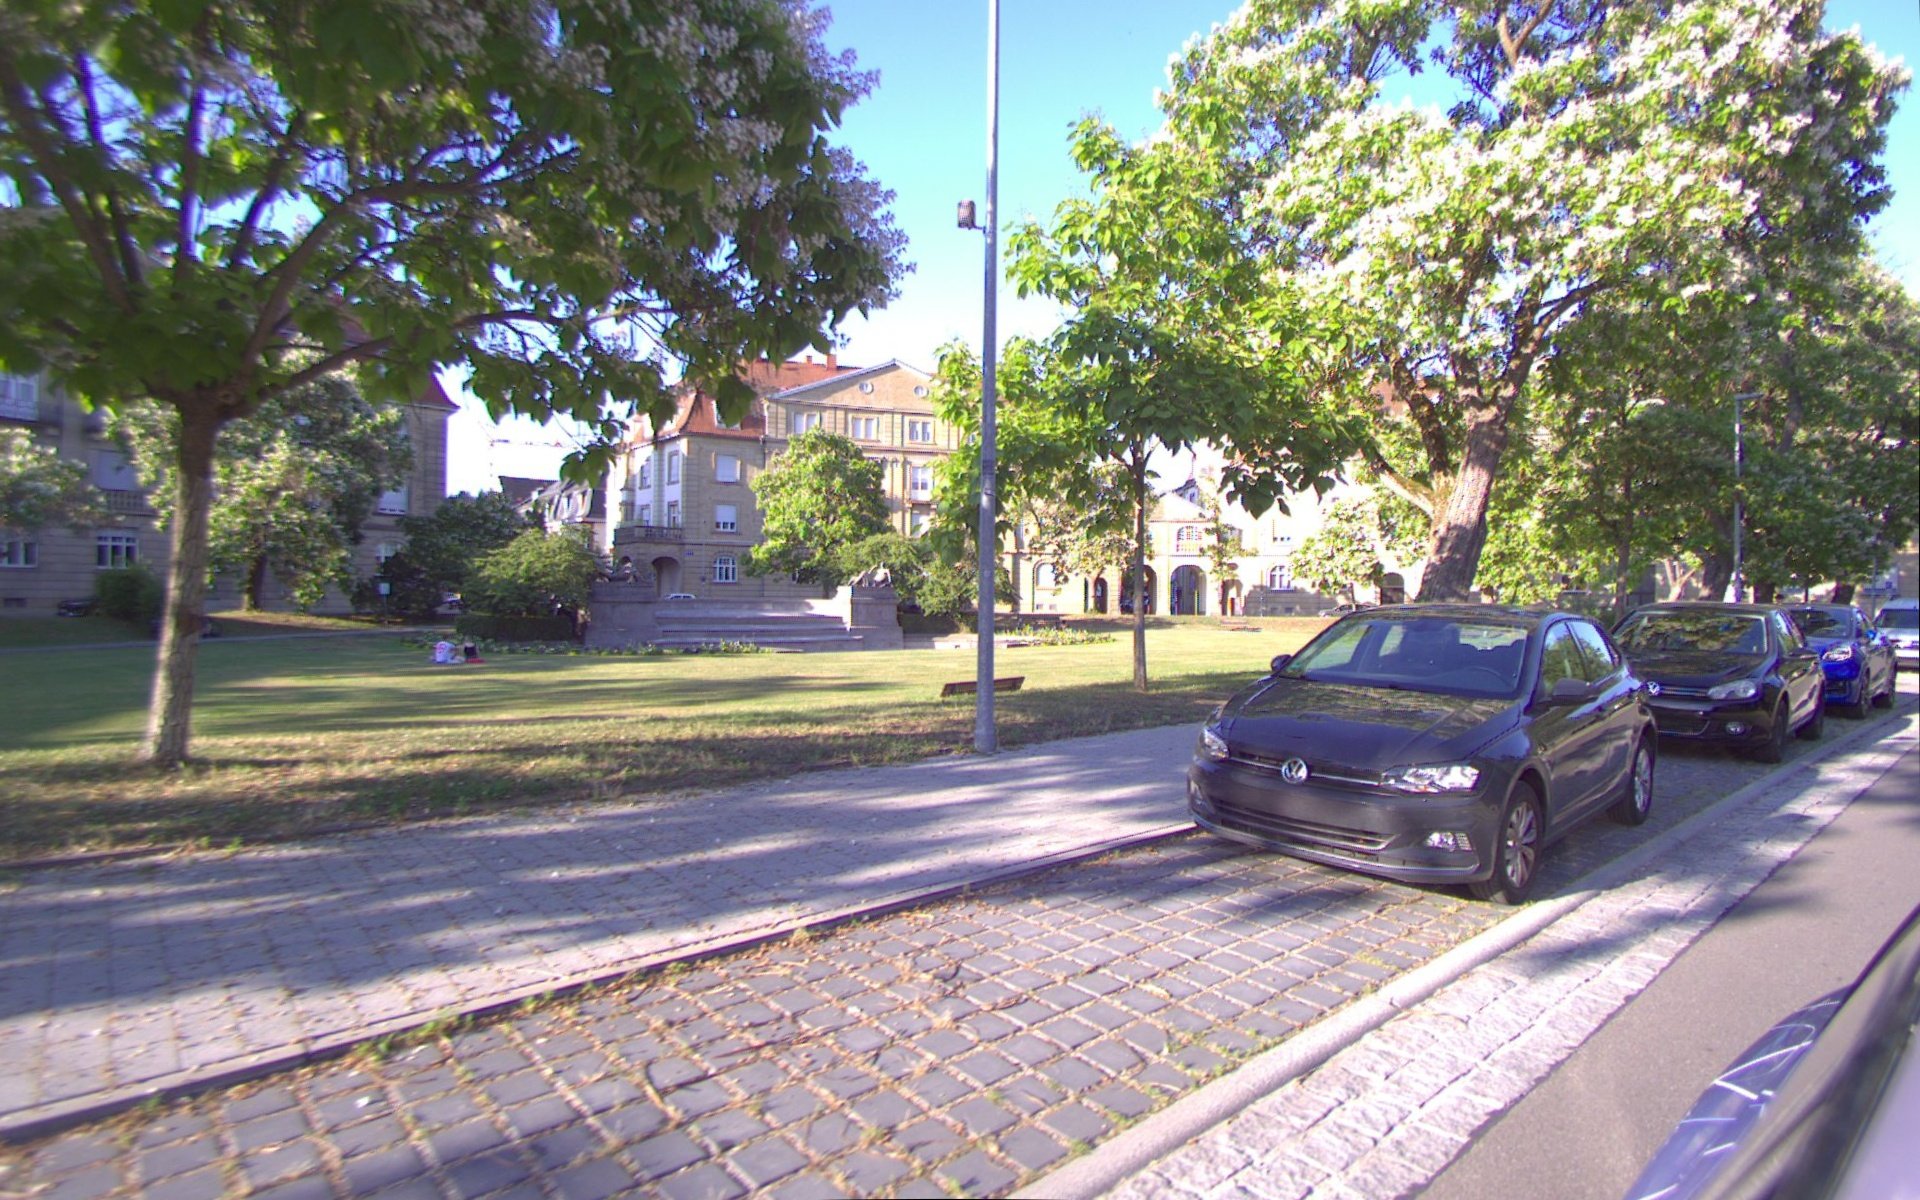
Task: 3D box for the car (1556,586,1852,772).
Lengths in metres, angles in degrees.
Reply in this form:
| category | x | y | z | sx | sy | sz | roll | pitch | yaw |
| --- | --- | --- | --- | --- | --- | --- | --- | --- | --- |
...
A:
| category | x | y | z | sx | sy | sz | roll | pitch | yaw |
| --- | --- | --- | --- | --- | --- | --- | --- | --- | --- |
| car | 7.975 | 0.646 | 10.683 | 4.348 | 1.570 | 1.734 | 0 | 1 | -43 |

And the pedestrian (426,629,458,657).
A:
| category | x | y | z | sx | sy | sz | roll | pitch | yaw |
| --- | --- | --- | --- | --- | --- | --- | --- | --- | --- |
| pedestrian | -15.498 | 1.279 | 30.298 | 0.655 | 0.804 | 0.586 | 0 | 0 | 6 |

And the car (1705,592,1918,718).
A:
| category | x | y | z | sx | sy | sz | roll | pitch | yaw |
| --- | --- | --- | --- | --- | --- | --- | --- | --- | --- |
| car | 12.531 | 0.677 | 14.807 | 4.200 | 1.570 | 1.735 | 0 | 1 | -41 |

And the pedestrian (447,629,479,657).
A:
| category | x | y | z | sx | sy | sz | roll | pitch | yaw |
| --- | --- | --- | --- | --- | --- | --- | --- | --- | --- |
| pedestrian | -14.831 | 1.285 | 30.202 | 0.655 | 0.804 | 0.586 | 0 | 0 | 6 |

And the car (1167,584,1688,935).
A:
| category | x | y | z | sx | sy | sz | roll | pitch | yaw |
| --- | --- | --- | --- | --- | --- | --- | --- | --- | --- |
| car | 3.166 | 0.654 | 6.354 | 4.180 | 1.482 | 1.627 | 0 | 1 | -45 |

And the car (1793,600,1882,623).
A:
| category | x | y | z | sx | sy | sz | roll | pitch | yaw |
| --- | --- | --- | --- | --- | --- | --- | --- | --- | --- |
| car | 58.788 | 0.740 | 67.867 | 4.440 | 1.436 | 1.905 | 1 | 1 | 44 |

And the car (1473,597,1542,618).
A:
| category | x | y | z | sx | sy | sz | roll | pitch | yaw |
| --- | --- | --- | --- | --- | --- | --- | --- | --- | --- |
| car | 40.051 | 0.545 | 74.128 | 4.393 | 1.435 | 1.553 | 1 | 1 | 26 |

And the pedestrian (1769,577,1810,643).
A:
| category | x | y | z | sx | sy | sz | roll | pitch | yaw |
| --- | --- | --- | --- | --- | --- | --- | --- | --- | --- |
| pedestrian | 22.257 | 0.268 | 27.154 | 0.719 | 1.758 | 0.726 | 1 | -1 | -41 |

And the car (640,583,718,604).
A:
| category | x | y | z | sx | sy | sz | roll | pitch | yaw |
| --- | --- | --- | --- | --- | --- | --- | --- | --- | --- |
| car | -19.382 | -0.460 | 69.907 | 4.854 | 1.435 | 1.820 | 0 | 1 | -34 |

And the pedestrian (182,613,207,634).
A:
| category | x | y | z | sx | sy | sz | roll | pitch | yaw |
| --- | --- | --- | --- | --- | --- | --- | --- | --- | --- |
| pedestrian | -29.842 | 0.920 | 39.435 | 0.584 | 0.804 | 0.658 | 1 | 1 | 38 |

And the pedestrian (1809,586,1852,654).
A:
| category | x | y | z | sx | sy | sz | roll | pitch | yaw |
| --- | --- | --- | --- | --- | --- | --- | --- | --- | --- |
| pedestrian | 22.795 | 0.518 | 26.506 | 0.719 | 1.758 | 0.754 | 1 | -1 | -41 |

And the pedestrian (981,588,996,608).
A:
| category | x | y | z | sx | sy | sz | roll | pitch | yaw |
| --- | --- | --- | --- | --- | --- | --- | --- | --- | --- |
| pedestrian | 2.175 | -0.175 | 76.330 | 0.933 | 1.493 | 0.682 | 0 | 0 | -39 |

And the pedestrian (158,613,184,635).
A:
| category | x | y | z | sx | sy | sz | roll | pitch | yaw |
| --- | --- | --- | --- | --- | --- | --- | --- | --- | --- |
| pedestrian | -30.291 | 0.905 | 38.839 | 0.584 | 0.804 | 0.658 | 1 | 1 | 38 |

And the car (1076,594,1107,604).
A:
| category | x | y | z | sx | sy | sz | roll | pitch | yaw |
| --- | --- | --- | --- | --- | --- | --- | --- | --- | --- |
| car | 19.480 | -0.110 | 149.544 | 4.287 | 1.435 | 1.820 | 0 | 1 | -1 |

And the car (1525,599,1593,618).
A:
| category | x | y | z | sx | sy | sz | roll | pitch | yaw |
| --- | --- | --- | --- | --- | --- | --- | --- | --- | --- |
| car | 45.944 | 0.662 | 77.745 | 4.411 | 1.341 | 1.491 | 1 | 1 | 28 |

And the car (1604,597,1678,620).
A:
| category | x | y | z | sx | sy | sz | roll | pitch | yaw |
| --- | --- | --- | --- | --- | --- | --- | --- | --- | --- |
| car | 50.364 | 0.612 | 74.964 | 4.418 | 1.620 | 1.783 | 1 | 1 | 32 |

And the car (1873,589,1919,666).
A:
| category | x | y | z | sx | sy | sz | roll | pitch | yaw |
| --- | --- | --- | --- | --- | --- | --- | --- | --- | --- |
| car | 23.867 | 0.628 | 24.864 | 4.436 | 1.761 | 1.681 | 0 | 1 | -42 |

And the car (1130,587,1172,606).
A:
| category | x | y | z | sx | sy | sz | roll | pitch | yaw |
| --- | --- | --- | --- | --- | --- | --- | --- | --- | --- |
| car | 21.257 | -0.388 | 112.721 | 4.285 | 2.134 | 1.821 | 0 | 0 | -3 |

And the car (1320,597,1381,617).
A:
| category | x | y | z | sx | sy | sz | roll | pitch | yaw |
| --- | --- | --- | --- | --- | --- | --- | --- | --- | --- |
| car | 30.136 | 0.549 | 78.263 | 4.316 | 1.435 | 1.808 | 1 | 1 | 20 |

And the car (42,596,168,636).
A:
| category | x | y | z | sx | sy | sz | roll | pitch | yaw |
| --- | --- | --- | --- | --- | --- | --- | --- | --- | --- |
| car | -38.923 | 0.715 | 46.178 | 1.976 | 1.727 | 3.972 | -1 | -1 | 21 |

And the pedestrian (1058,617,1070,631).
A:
| category | x | y | z | sx | sy | sz | roll | pitch | yaw |
| --- | --- | --- | --- | --- | --- | --- | --- | --- | --- |
| pedestrian | 6.401 | 1.476 | 62.427 | 0.663 | 0.892 | 0.578 | 0 | -1 | -3 |
